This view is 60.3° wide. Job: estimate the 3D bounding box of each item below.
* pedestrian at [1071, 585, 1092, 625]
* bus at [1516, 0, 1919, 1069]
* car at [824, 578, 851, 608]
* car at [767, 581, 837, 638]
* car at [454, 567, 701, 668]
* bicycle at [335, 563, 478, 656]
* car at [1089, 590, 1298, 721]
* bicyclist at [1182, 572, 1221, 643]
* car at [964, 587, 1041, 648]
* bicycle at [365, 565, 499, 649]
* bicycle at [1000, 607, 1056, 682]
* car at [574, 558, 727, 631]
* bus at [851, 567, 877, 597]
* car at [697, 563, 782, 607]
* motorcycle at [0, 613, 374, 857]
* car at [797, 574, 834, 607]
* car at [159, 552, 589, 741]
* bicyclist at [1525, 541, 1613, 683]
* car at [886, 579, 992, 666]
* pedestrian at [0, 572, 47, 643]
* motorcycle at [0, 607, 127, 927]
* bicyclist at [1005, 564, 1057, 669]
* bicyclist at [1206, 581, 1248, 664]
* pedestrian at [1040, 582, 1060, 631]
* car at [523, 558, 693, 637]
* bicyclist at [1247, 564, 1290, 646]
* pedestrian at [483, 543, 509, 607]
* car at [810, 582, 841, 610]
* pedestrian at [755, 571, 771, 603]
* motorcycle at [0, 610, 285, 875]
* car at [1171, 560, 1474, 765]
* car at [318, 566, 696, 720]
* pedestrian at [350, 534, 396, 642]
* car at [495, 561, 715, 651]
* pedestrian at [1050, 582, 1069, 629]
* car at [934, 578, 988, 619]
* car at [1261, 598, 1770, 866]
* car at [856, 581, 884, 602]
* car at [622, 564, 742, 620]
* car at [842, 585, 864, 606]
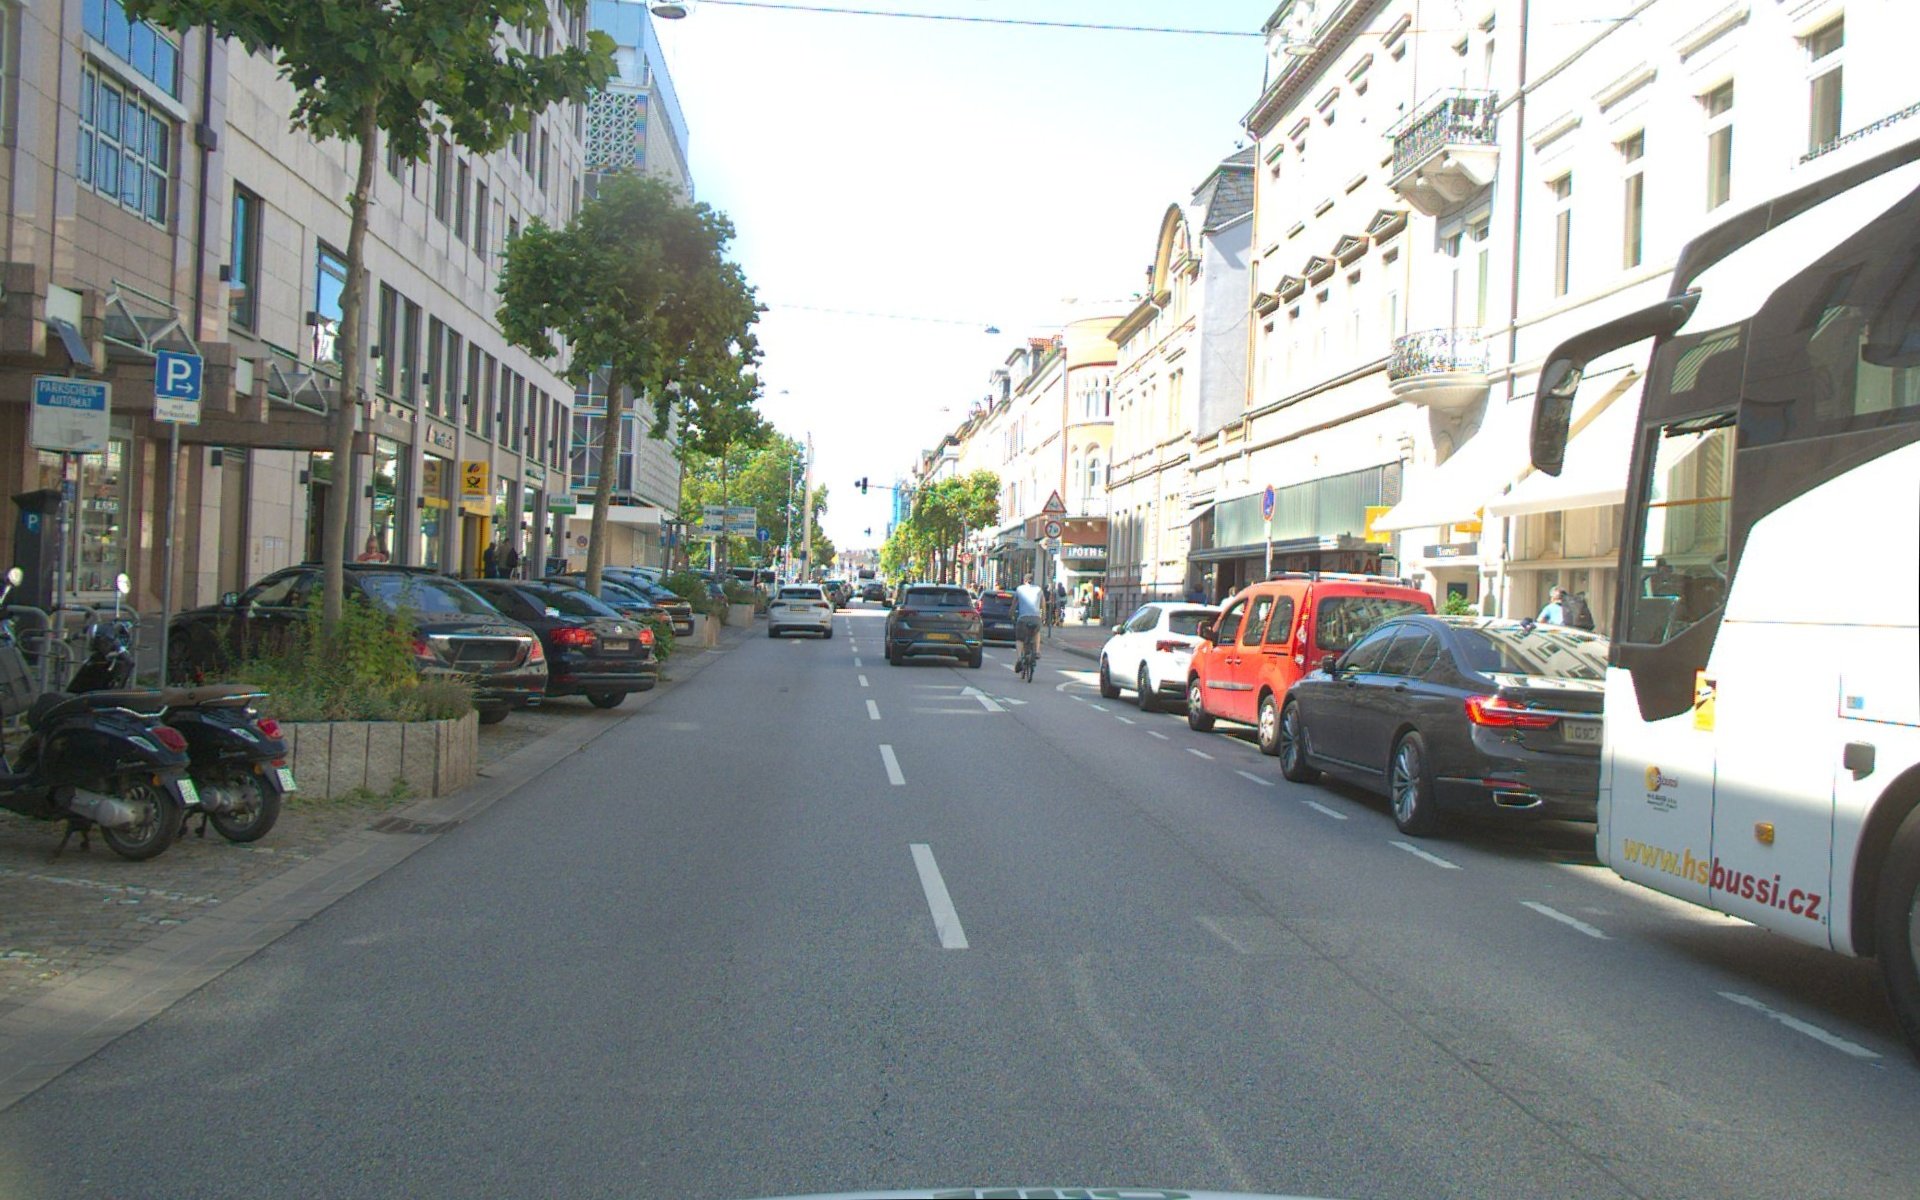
[{"bbox_3d":[5.507,0.223,74.735,0.776,1.750,0.728,1,0,-9],"label":"pedestrian"},{"bbox_3d":[4.939,-0.248,2.443,2.826,3.807,12.412,4,0,-5],"label":"bus"},{"bbox_3d":[-9.014,-0.478,121.633,1.827,2.065,3.995,2,-1,-5],"label":"car"},{"bbox_3d":[-4.387,0.229,45.966,1.827,1.466,3.995,1,1,-6],"label":"car"},{"bbox_3d":[-6.915,0.286,29.677,4.565,1.432,1.897,5,1,39],"label":"car"},{"bbox_3d":[-8.783,0.150,26.315,2.029,1.311,0.366,5,-1,-12],"label":"bicycle"},{"bbox_3d":[3.210,0.716,23.734,1.779,1.491,4.574,4,1,-7],"label":"car"},{"bbox_3d":[5.625,0.177,38.603,0.695,1.623,0.963,2,0,-3],"label":"bicyclist"},{"bbox_3d":[1.129,0.445,45.535,1.786,1.433,3.185,4,1,-3],"label":"car"},{"bbox_3d":[-8.854,0.117,27.764,2.035,1.240,0.755,5,-1,-21],"label":"bicycle"},{"bbox_3d":[1.144,0.740,28.297,0.651,1.139,2.242,4,1,-4],"label":"bicycle"},{"bbox_3d":[-8.914,-0.151,47.681,3.908,1.595,1.700,7,0,21],"label":"car"},{"bbox_3d":[-12.600,-2.342,216.017,2.718,3.668,8.959,2,1,-7],"label":"bus"},{"bbox_3d":[-12.655,-0.869,94.685,4.632,2.038,1.934,5,0,36],"label":"car"},{"bbox_3d":[-4.392,0.721,9.390,1.870,1.190,0.761,3,1,16],"label":"motorcycle"},{"bbox_3d":[-6.949,-0.475,79.581,1.709,1.466,3.996,2,1,-5],"label":"car"},{"bbox_3d":[-6.150,0.401,17.117,4.667,1.560,1.981,3,1,38],"label":"car"},{"bbox_3d":[7.562,0.141,20.566,0.634,1.714,1.012,2,0,-3],"label":"bicyclist"},{"bbox_3d":[-0.469,0.400,32.497,1.797,1.554,3.997,2,0,-4],"label":"car"},{"bbox_3d":[-12.098,0.085,20.977,0.555,0.823,0.773,7,0,-4],"label":"pedestrian"},{"bbox_3d":[-5.058,0.653,7.153,2.296,1.290,1.295,3,1,16],"label":"motorcycle"},{"bbox_3d":[1.198,0.272,28.048,0.681,1.702,0.915,4,1,-3],"label":"bicyclist"},{"bbox_3d":[5.358,0.447,33.206,0.619,1.623,0.920,2,0,-3],"label":"bicyclist"},{"bbox_3d":[3.666,0.264,67.581,0.694,1.932,1.152,2,0,-1],"label":"pedestrian"},{"bbox_3d":[-8.721,-0.071,41.288,3.914,1.526,1.714,6,0,-9],"label":"car"},{"bbox_3d":[6.287,0.099,33.717,0.644,1.623,0.920,2,0,-3],"label":"bicyclist"},{"bbox_3d":[-14.942,-0.802,53.256,0.611,2.049,0.700,1,0,-4],"label":"pedestrian"},{"bbox_3d":[-7.590,-0.254,93.383,1.709,1.466,3.996,2,1,-5],"label":"car"},{"bbox_3d":[-10.462,-0.695,87.707,0.606,1.643,0.544,3,-2,-34],"label":"pedestrian"},{"bbox_3d":[-4.594,0.699,8.667,1.870,1.190,0.729,3,1,16],"label":"motorcycle"},{"bbox_3d":[3.830,0.580,18.312,1.793,1.896,4.347,4,1,-8],"label":"car"},{"bbox_3d":[-5.581,0.455,20.106,4.702,1.447,1.876,4,1,36],"label":"car"},{"bbox_3d":[-9.416,-0.194,26.544,0.556,1.686,0.635,2,0,-12],"label":"pedestrian"},{"bbox_3d":[-7.501,0.118,34.892,4.257,1.539,1.831,5,1,26],"label":"car"},{"bbox_3d":[3.901,0.213,64.880,0.639,1.841,0.729,2,0,-1],"label":"pedestrian"},{"bbox_3d":[0.010,-0.077,63.470,1.786,1.409,3.998,2,1,-3],"label":"car"},{"bbox_3d":[3.897,0.814,12.766,1.822,1.495,5.222,4,0,-4],"label":"car"},{"bbox_3d":[-6.555,-0.625,120.168,1.827,1.466,3.996,2,0,-5],"label":"car"},{"bbox_3d":[-9.718,-0.278,57.962,3.912,1.526,1.715,6,0,-7],"label":"car"},{"bbox_3d":[-9.992,-0.411,154.229,1.827,1.735,3.995,-3,-1,-5],"label":"car"}]
